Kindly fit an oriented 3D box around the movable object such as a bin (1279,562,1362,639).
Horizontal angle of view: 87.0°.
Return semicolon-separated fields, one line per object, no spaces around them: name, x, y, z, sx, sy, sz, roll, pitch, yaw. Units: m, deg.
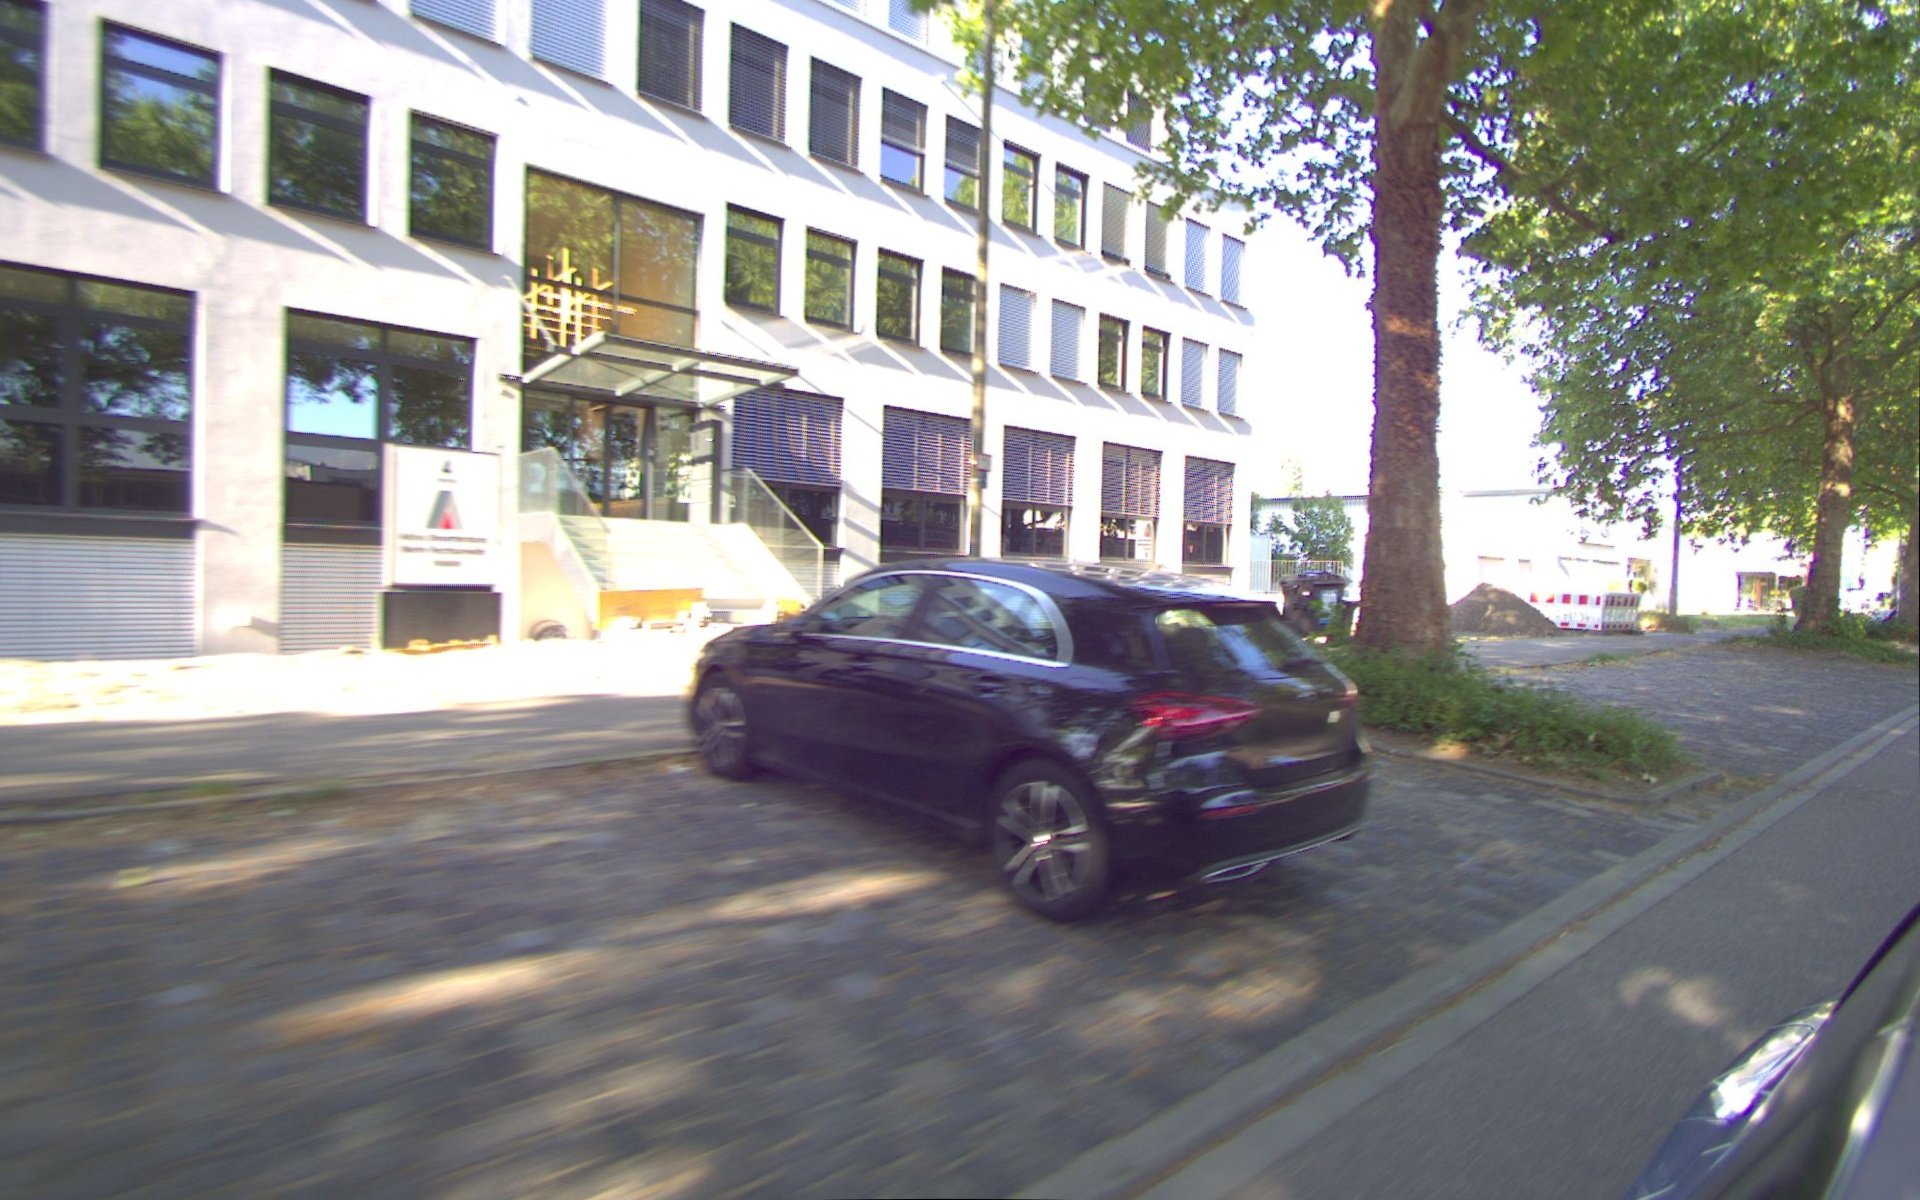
movable object such as a bin;6.672;-0.010;18.699;1.592;1.367;0.749;-1;1;-41

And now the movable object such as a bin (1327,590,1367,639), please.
movable object such as a bin;7.410;0.271;19.369;0.589;0.911;0.493;-1;1;-42

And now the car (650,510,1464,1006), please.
car;0.118;0.380;5.552;1.829;1.503;4.294;-1;6;-42

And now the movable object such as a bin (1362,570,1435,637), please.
movable object such as a bin;8.806;0.054;20.300;1.583;1.279;0.749;-1;1;-41

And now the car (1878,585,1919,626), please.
car;39.017;0.316;39.902;1.638;1.531;3.944;-1;5;-40
